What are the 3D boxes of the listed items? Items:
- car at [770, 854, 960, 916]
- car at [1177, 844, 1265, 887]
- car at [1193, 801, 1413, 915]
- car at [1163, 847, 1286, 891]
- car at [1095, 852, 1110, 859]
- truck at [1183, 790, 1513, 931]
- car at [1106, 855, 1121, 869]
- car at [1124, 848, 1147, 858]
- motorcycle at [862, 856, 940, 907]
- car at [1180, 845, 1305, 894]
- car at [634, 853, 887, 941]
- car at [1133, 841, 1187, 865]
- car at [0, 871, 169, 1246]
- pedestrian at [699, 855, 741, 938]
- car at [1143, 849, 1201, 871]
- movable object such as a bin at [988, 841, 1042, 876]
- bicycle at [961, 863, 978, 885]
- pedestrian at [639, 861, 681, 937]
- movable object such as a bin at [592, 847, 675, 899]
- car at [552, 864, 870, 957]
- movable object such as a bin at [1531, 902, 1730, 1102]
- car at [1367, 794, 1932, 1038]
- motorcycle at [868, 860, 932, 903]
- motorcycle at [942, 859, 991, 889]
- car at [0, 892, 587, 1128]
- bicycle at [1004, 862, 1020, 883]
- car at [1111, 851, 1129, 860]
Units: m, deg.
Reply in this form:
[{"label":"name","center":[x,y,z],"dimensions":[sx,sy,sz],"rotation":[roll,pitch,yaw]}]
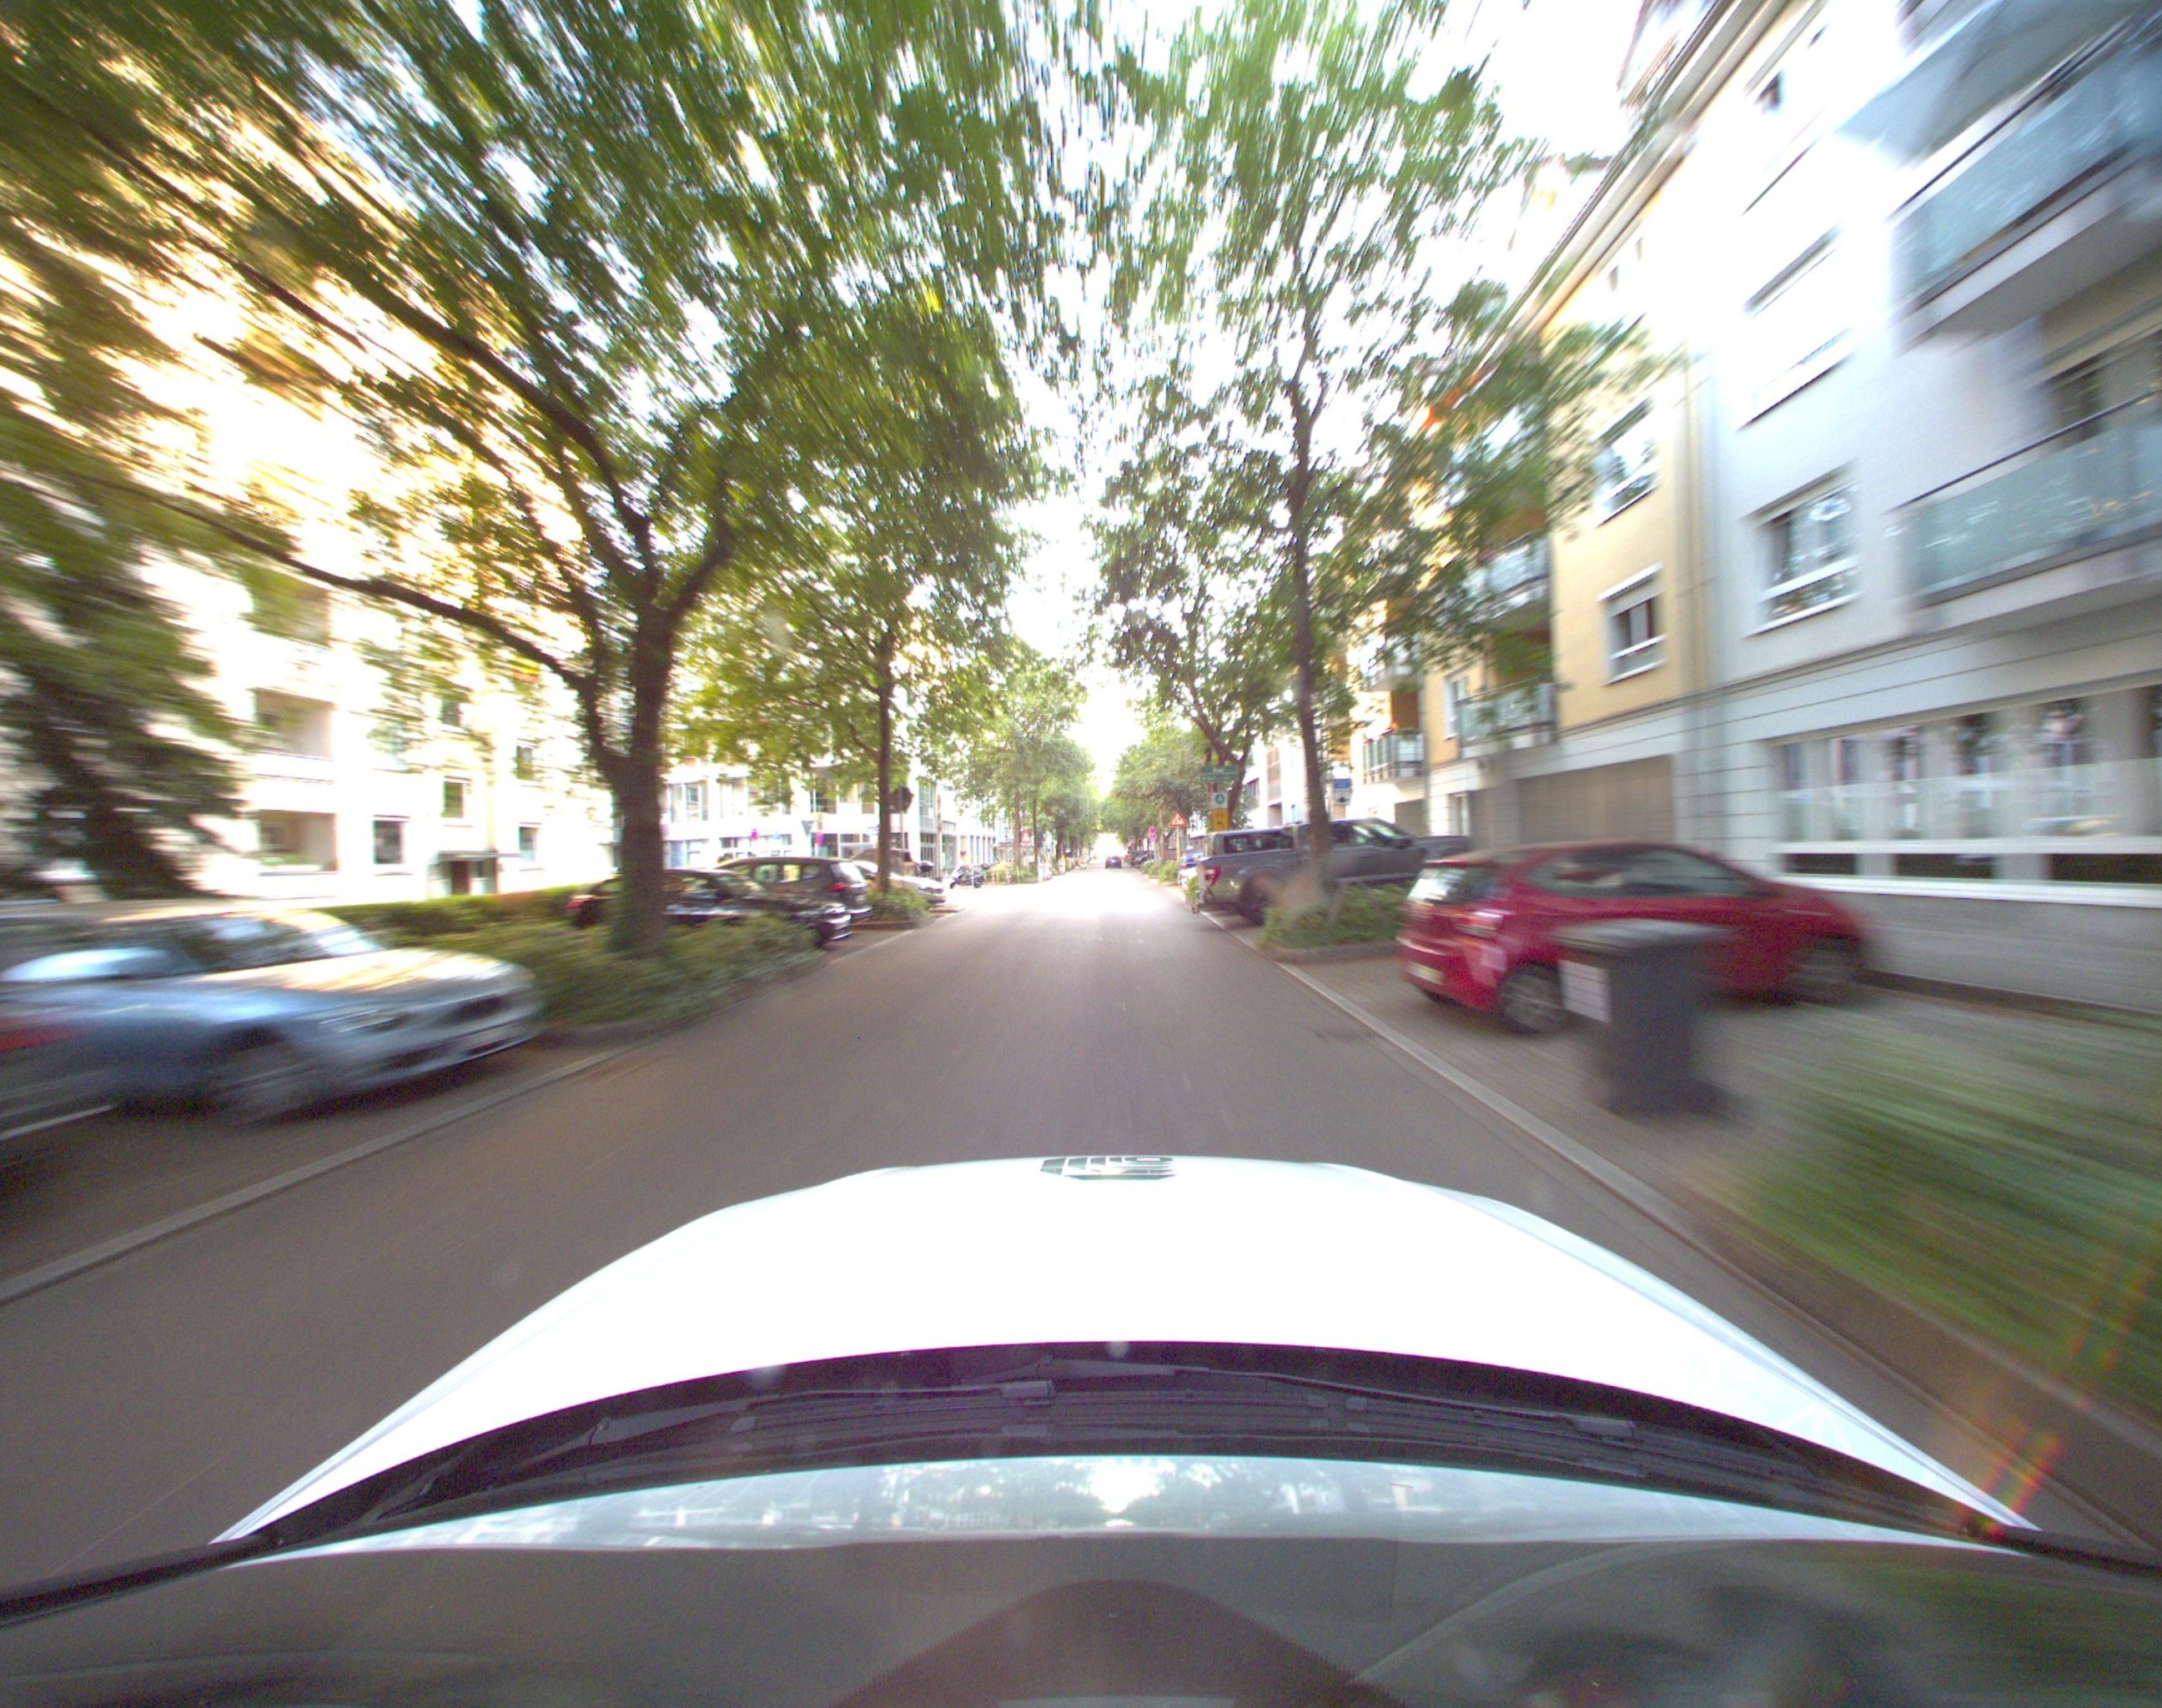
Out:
[{"label":"car","center":[-5.661,0.805,21.795],"dimensions":[4.480,1.581,2.056],"rotation":[0,-1,2]},{"label":"car","center":[5.763,0.456,33.900],"dimensions":[3.337,1.526,1.747],"rotation":[-4,0,2]},{"label":"car","center":[5.178,0.094,19.539],"dimensions":[4.603,2.133,2.037],"rotation":[-6,0,1]},{"label":"car","center":[5.483,0.552,31.304],"dimensions":[4.277,1.508,1.867],"rotation":[-2,0,-8]},{"label":"car","center":[6.140,0.526,233.806],"dimensions":[3.982,1.914,1.774],"rotation":[-2,0,-6]},{"label":"truck","center":[5.294,0.133,16.902],"dimensions":[5.982,2.133,2.262],"rotation":[-6,0,1]},{"label":"car","center":[3.516,0.834,87.941],"dimensions":[1.494,1.416,3.715],"rotation":[-2,0,2]},{"label":"car","center":[9.897,-0.149,147.708],"dimensions":[3.976,1.597,1.999],"rotation":[-2,0,-2]},{"label":"motorcycle","center":[-5.607,0.855,25.418],"dimensions":[2.207,1.493,0.692],"rotation":[-2,0,3]},{"label":"car","center":[5.658,0.532,28.886],"dimensions":[4.054,1.563,1.853],"rotation":[-2,0,0]},{"label":"car","center":[-6.460,0.827,16.841],"dimensions":[4.382,1.684,2.064],"rotation":[0,0,-1]},{"label":"car","center":[7.446,-0.061,77.149],"dimensions":[4.953,2.087,1.739],"rotation":[-2,0,2]},{"label":"car","center":[-6.397,0.944,3.273],"dimensions":[3.394,1.609,1.760],"rotation":[-2,0,-1]},{"label":"pedestrian","center":[-8.038,0.921,18.142],"dimensions":[0.702,1.788,0.523],"rotation":[-2,0,-38]},{"label":"car","center":[7.066,0.471,63.568],"dimensions":[4.417,1.591,1.630],"rotation":[-2,0,4]},{"label":"movable object such as a bin","center":[-4.786,0.316,59.675],"dimensions":[3.653,2.333,2.583],"rotation":[-2,0,0]},{"label":"bicycle","center":[-6.144,1.084,44.916],"dimensions":[0.599,1.118,1.801],"rotation":[-2,1,2]},{"label":"pedestrian","center":[-9.029,0.960,17.459],"dimensions":[0.653,1.572,0.451],"rotation":[-2,0,25]},{"label":"movable object such as a bin","center":[-24.001,1.022,43.667],"dimensions":[4.059,2.634,1.813],"rotation":[-2,0,26]},{"label":"car","center":[-6.439,0.954,14.615],"dimensions":[4.701,1.424,2.071],"rotation":[-1,0,-1]},{"label":"movable object such as a bin","center":[3.258,0.853,4.886],"dimensions":[0.772,1.068,0.589],"rotation":[-2,0,1]},{"label":"car","center":[4.727,0.493,7.210],"dimensions":[3.653,1.548,1.780],"rotation":[-5,-1,-1]},{"label":"motorcycle","center":[-6.154,0.935,27.577],"dimensions":[2.195,1.374,0.728],"rotation":[-2,0,32]},{"label":"motorcycle","center":[-5.831,0.992,41.556],"dimensions":[2.391,1.440,0.792],"rotation":[-2,0,-38]},{"label":"car","center":[-6.247,1.032,6.009],"dimensions":[4.087,1.379,1.746],"rotation":[-1,0,-1]},{"label":"bicycle","center":[-3.810,1.014,45.183],"dimensions":[0.599,1.118,1.801],"rotation":[-2,1,2]},{"label":"car","center":[9.228,0.425,191.811],"dimensions":[3.969,2.013,2.002],"rotation":[-2,0,3]}]
